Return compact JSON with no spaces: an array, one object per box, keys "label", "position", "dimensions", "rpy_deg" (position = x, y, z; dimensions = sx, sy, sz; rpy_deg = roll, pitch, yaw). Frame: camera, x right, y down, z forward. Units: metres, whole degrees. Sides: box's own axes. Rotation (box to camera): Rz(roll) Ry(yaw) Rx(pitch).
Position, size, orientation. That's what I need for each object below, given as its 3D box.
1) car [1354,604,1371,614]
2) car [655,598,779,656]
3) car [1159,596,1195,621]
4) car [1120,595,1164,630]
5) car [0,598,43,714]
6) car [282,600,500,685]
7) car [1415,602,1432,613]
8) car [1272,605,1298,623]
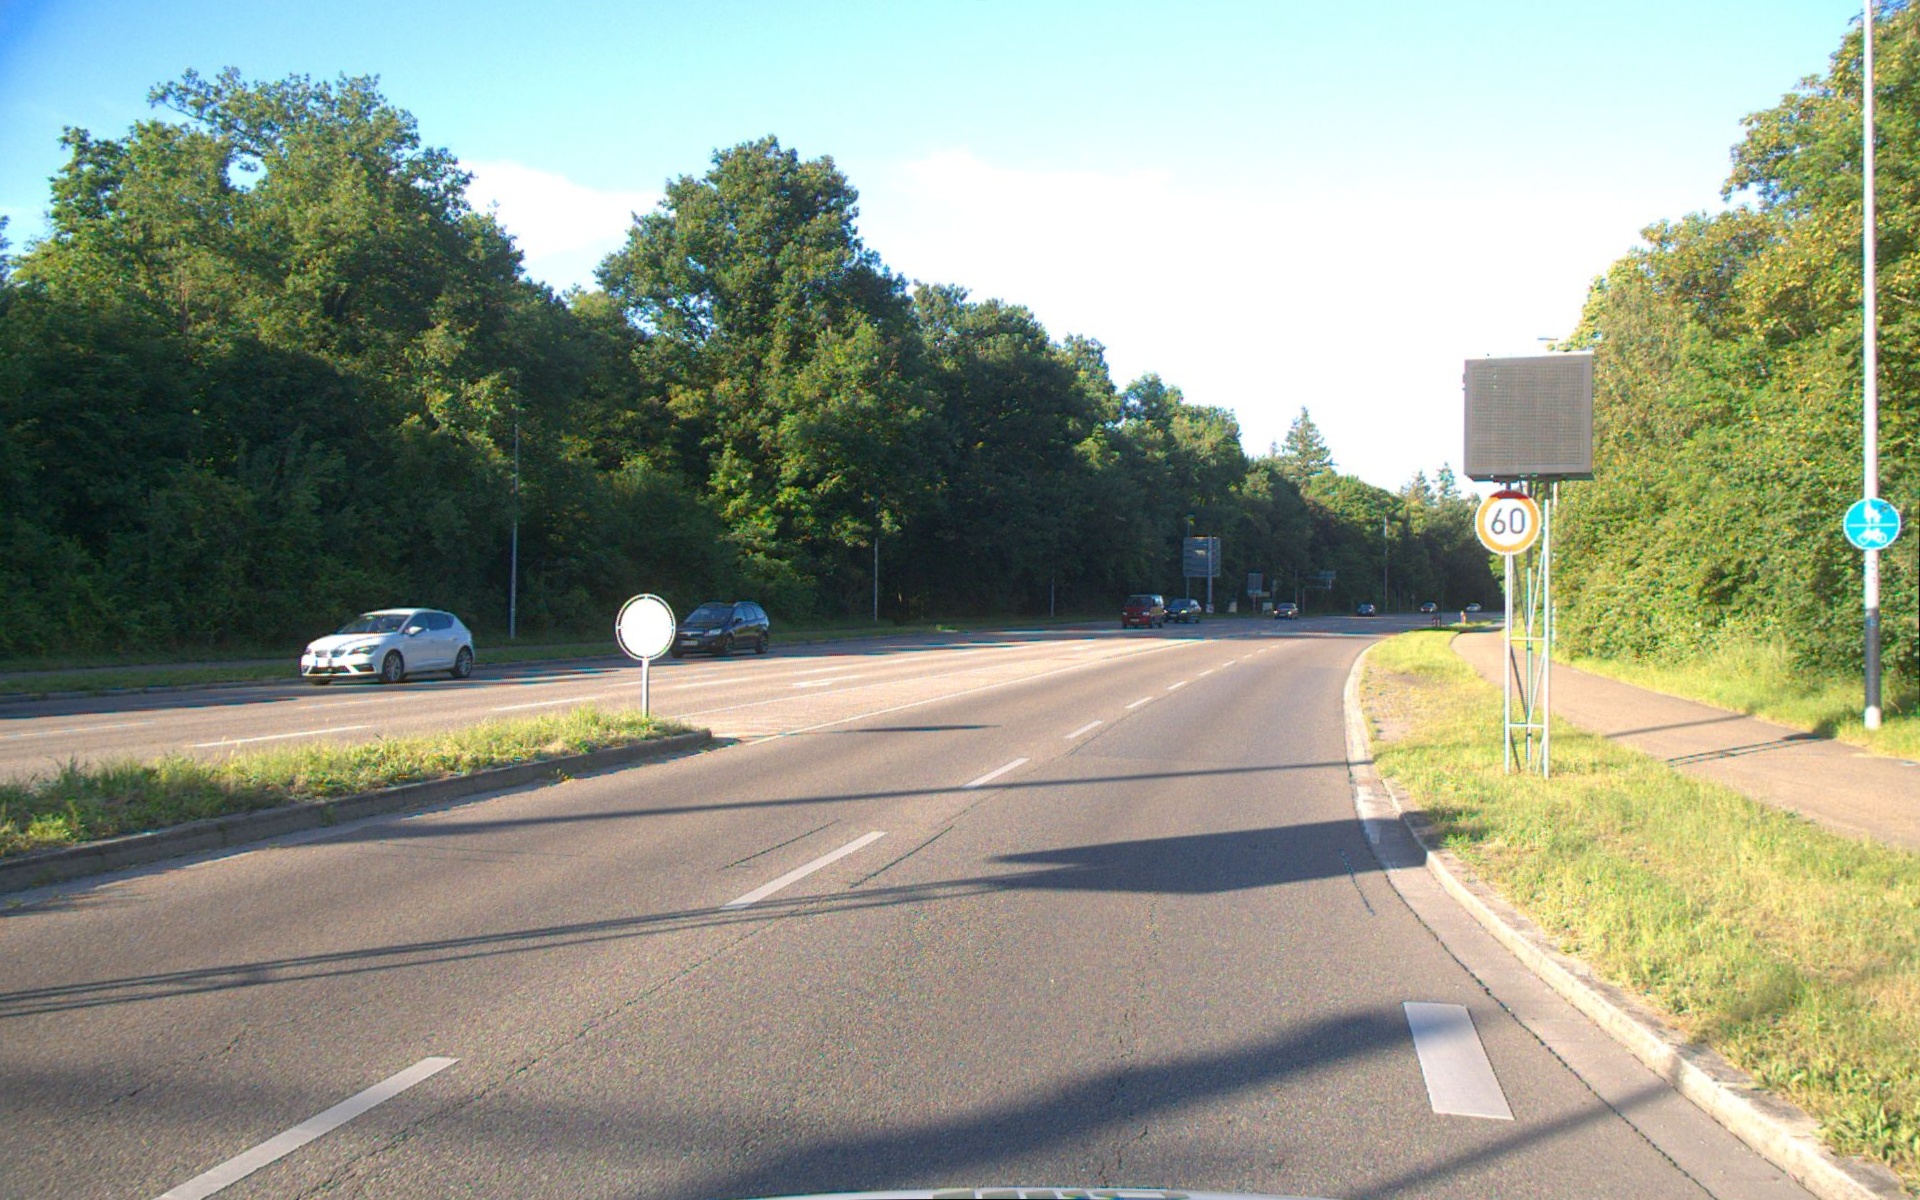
[{"label":"car","position":[47.910,1.061,196.704],"dimensions":[1.707,1.256,4.676],"rpy_deg":[0,0,16]},{"label":"car","position":[-7.076,0.774,48.713],"dimensions":[1.951,1.591,4.651],"rpy_deg":[-1,0,14]},{"label":"car","position":[15.370,0.598,117.174],"dimensions":[1.951,1.665,4.847],"rpy_deg":[0,0,14]},{"label":"car","position":[10.731,0.750,97.376],"dimensions":[1.951,1.996,4.651],"rpy_deg":[-1,0,14]},{"label":"car","position":[-14.609,0.778,21.594],"dimensions":[1.951,1.591,4.651],"rpy_deg":[-1,0,14]},{"label":"car","position":[-11.413,0.820,33.574],"dimensions":[1.951,1.591,4.651],"rpy_deg":[-1,0,14]},{"label":"car","position":[68.465,1.084,244.309],"dimensions":[1.788,1.572,4.255],"rpy_deg":[1,0,23]},{"label":"car","position":[29.758,1.300,151.483],"dimensions":[1.951,1.591,4.341],"rpy_deg":[0,0,16]}]
